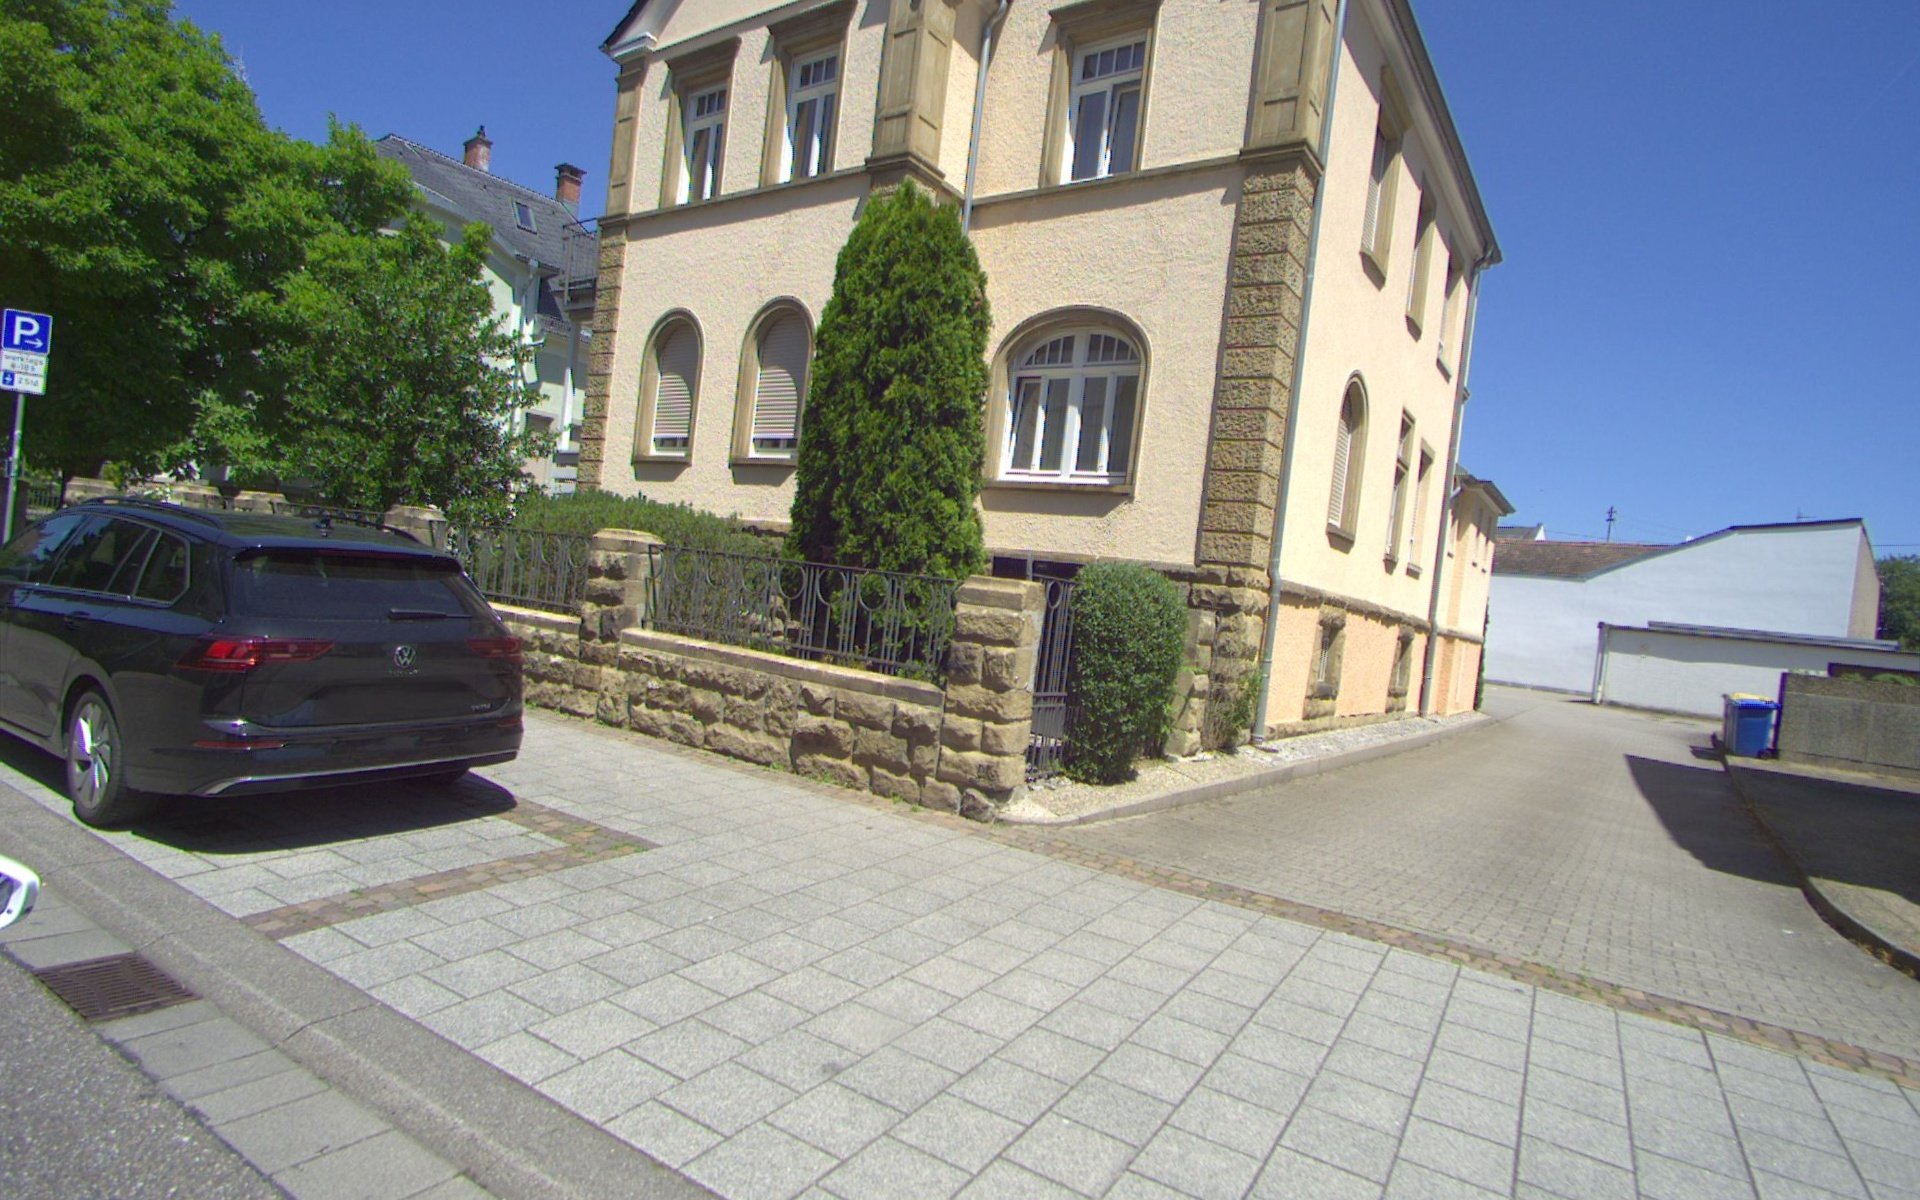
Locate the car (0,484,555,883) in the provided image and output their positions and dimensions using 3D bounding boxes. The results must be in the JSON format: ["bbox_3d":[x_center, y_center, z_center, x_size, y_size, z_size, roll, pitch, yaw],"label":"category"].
[{"bbox_3d":[-4.432,0.188,5.766,4.325,1.466,1.631,7,3,32],"label":"car"}]
